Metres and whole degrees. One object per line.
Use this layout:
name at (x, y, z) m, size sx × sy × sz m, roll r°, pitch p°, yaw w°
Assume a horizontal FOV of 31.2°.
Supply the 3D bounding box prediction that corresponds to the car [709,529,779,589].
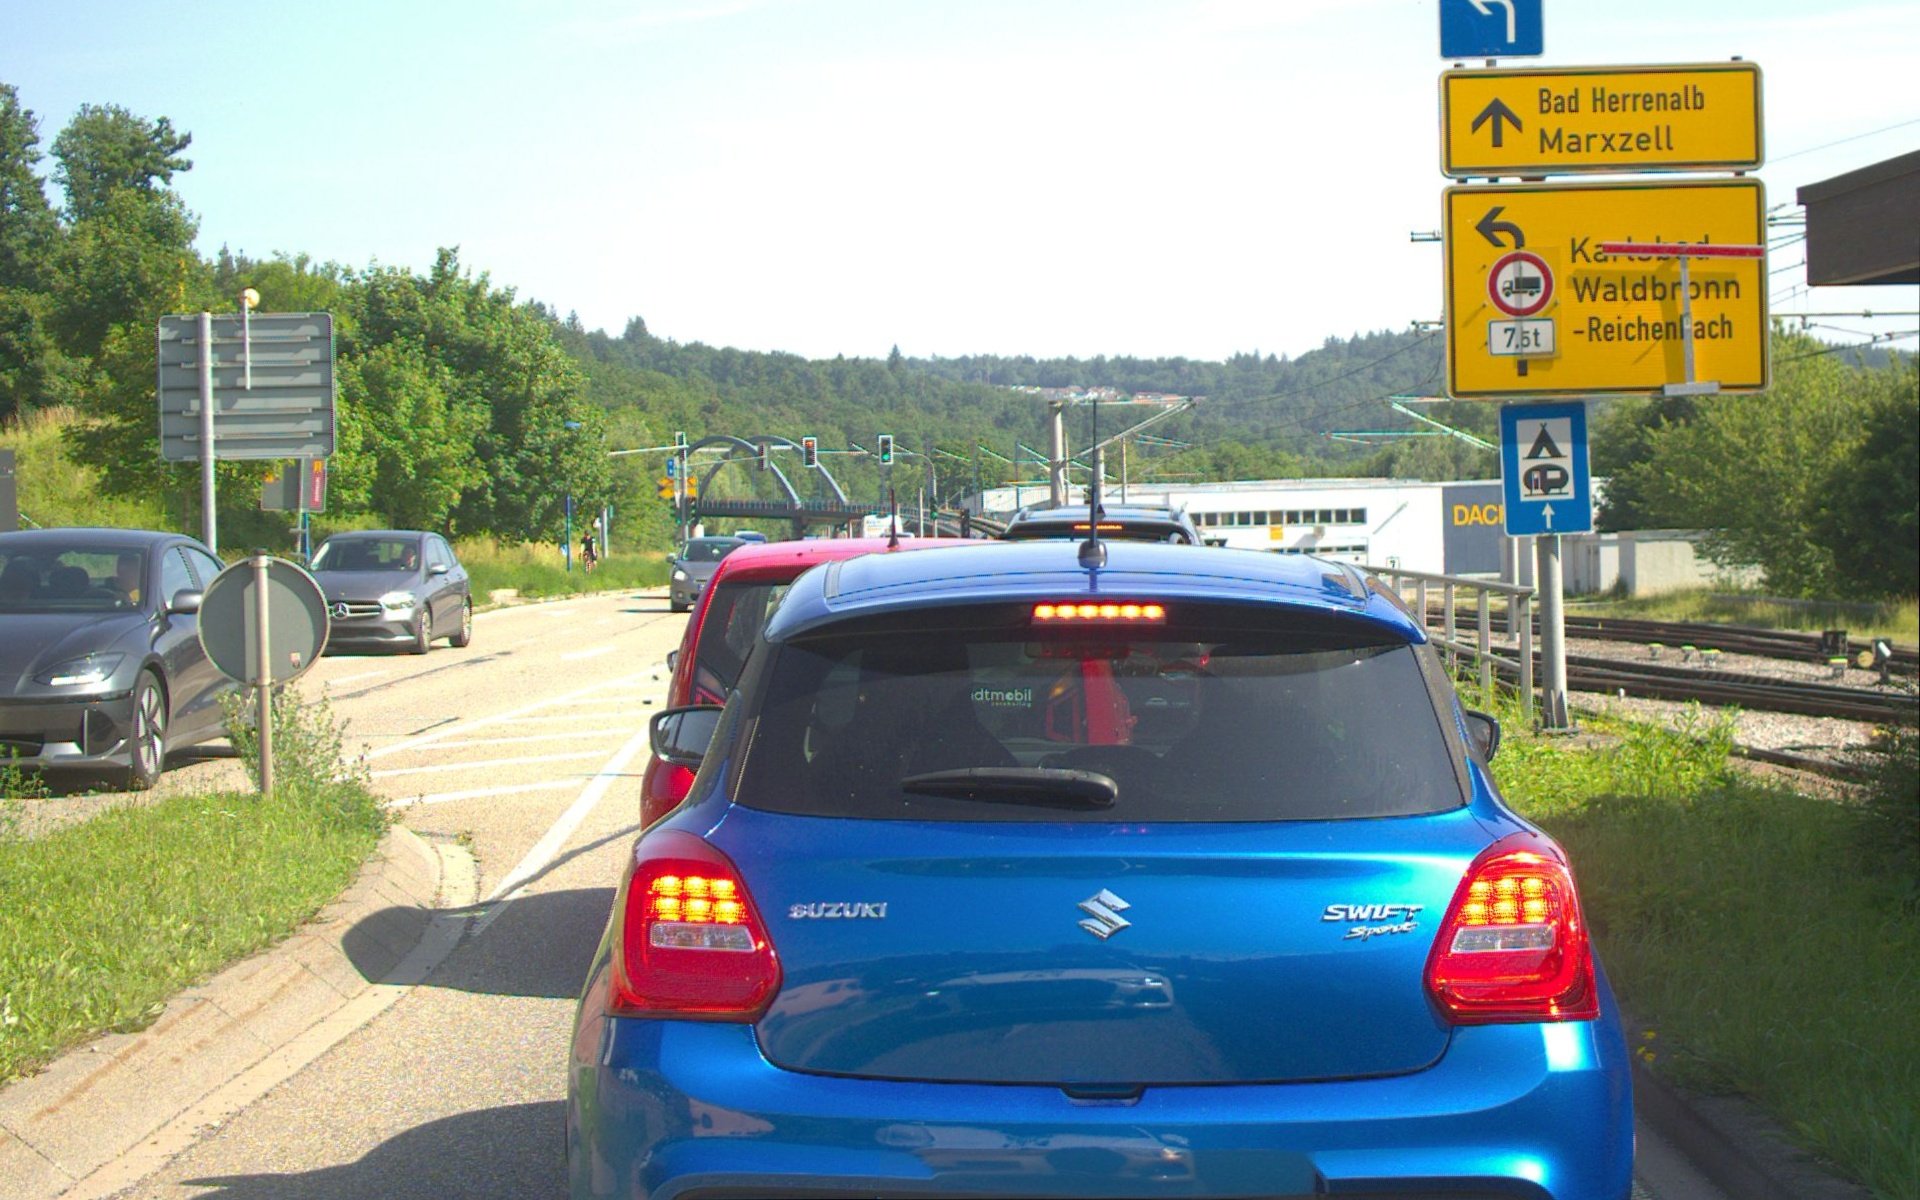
car at (-6.126, -1.180, 97.817) m, size 1.832 × 1.463 × 3.811 m, roll 2°, pitch 3°, yaw -2°

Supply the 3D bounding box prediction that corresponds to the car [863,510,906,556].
car at (-3.646, -3.245, 165.823) m, size 1.993 × 2.137 × 4.720 m, roll 1°, pitch 1°, yaw -1°

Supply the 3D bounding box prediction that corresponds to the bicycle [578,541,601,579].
bicycle at (-10.754, -1.164, 99.795) m, size 0.566 × 1.039 × 1.552 m, roll 2°, pitch 2°, yaw -3°

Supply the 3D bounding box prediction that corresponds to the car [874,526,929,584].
car at (-2.212, -1.724, 130.285) m, size 1.993 × 2.006 × 4.001 m, roll 2°, pitch 2°, yaw -1°

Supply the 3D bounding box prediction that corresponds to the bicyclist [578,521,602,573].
bicyclist at (-10.732, -1.537, 99.734) m, size 0.629 × 1.502 × 0.506 m, roll 2°, pitch 2°, yaw -3°

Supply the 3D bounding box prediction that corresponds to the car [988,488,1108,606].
car at (1.575, -1.011, 62.938) m, size 1.993 × 2.006 × 4.001 m, roll 2°, pitch 2°, yaw -1°

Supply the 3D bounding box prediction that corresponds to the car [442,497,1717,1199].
car at (0.130, 0.580, 7.053) m, size 1.868 × 1.543 × 4.000 m, roll 0°, pitch 1°, yaw -1°

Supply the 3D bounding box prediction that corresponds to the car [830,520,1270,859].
car at (0.450, 0.355, 17.990) m, size 1.993 × 1.526 × 4.602 m, roll -1°, pitch 1°, yaw 1°

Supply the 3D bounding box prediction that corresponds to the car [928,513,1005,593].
car at (0.153, -1.305, 93.107) m, size 1.993 × 2.006 × 4.001 m, roll 2°, pitch 2°, yaw -1°

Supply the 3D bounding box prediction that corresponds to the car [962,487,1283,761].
car at (1.068, 0.100, 24.072) m, size 1.993 × 1.681 × 4.497 m, roll 2°, pitch 1°, yaw 1°

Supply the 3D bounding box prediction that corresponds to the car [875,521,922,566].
car at (-2.644, -2.460, 148.566) m, size 1.993 × 1.810 × 4.001 m, roll 2°, pitch 2°, yaw -1°

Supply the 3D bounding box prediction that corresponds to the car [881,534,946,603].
car at (-1.490, -1.023, 109.780) m, size 1.993 × 2.006 × 4.001 m, roll 2°, pitch 2°, yaw -1°

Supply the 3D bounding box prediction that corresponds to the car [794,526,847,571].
car at (-5.680, -2.092, 140.054) m, size 1.993 × 1.777 × 4.000 m, roll 1°, pitch 1°, yaw -1°

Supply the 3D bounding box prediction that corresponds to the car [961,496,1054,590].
car at (1.074, -1.342, 79.218) m, size 1.993 × 2.006 × 4.001 m, roll 2°, pitch 2°, yaw -1°

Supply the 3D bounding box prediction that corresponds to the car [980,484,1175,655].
car at (1.265, -0.368, 37.998) m, size 1.993 × 1.730 × 4.000 m, roll 2°, pitch 1°, yaw 1°

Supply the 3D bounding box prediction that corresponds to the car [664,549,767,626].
car at (-4.783, -0.267, 67.610) m, size 1.672 × 1.436 × 3.840 m, roll 0°, pitch 1°, yaw 1°

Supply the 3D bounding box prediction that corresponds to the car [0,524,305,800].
car at (-5.387, 0.280, 20.796) m, size 1.791 × 1.465 × 4.716 m, roll 0°, pitch 1°, yaw 2°

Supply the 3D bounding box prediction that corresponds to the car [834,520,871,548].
car at (-6.083, -3.754, 194.678) m, size 1.993 × 1.549 × 4.215 m, roll 1°, pitch 1°, yaw -1°

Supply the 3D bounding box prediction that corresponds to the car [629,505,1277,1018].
car at (0.009, 0.470, 12.722) m, size 1.993 × 1.566 × 4.000 m, roll 1°, pitch 1°, yaw 1°

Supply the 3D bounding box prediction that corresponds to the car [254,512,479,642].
car at (-7.496, -0.335, 43.865) m, size 1.993 × 1.558 × 4.509 m, roll 0°, pitch 1°, yaw 1°
